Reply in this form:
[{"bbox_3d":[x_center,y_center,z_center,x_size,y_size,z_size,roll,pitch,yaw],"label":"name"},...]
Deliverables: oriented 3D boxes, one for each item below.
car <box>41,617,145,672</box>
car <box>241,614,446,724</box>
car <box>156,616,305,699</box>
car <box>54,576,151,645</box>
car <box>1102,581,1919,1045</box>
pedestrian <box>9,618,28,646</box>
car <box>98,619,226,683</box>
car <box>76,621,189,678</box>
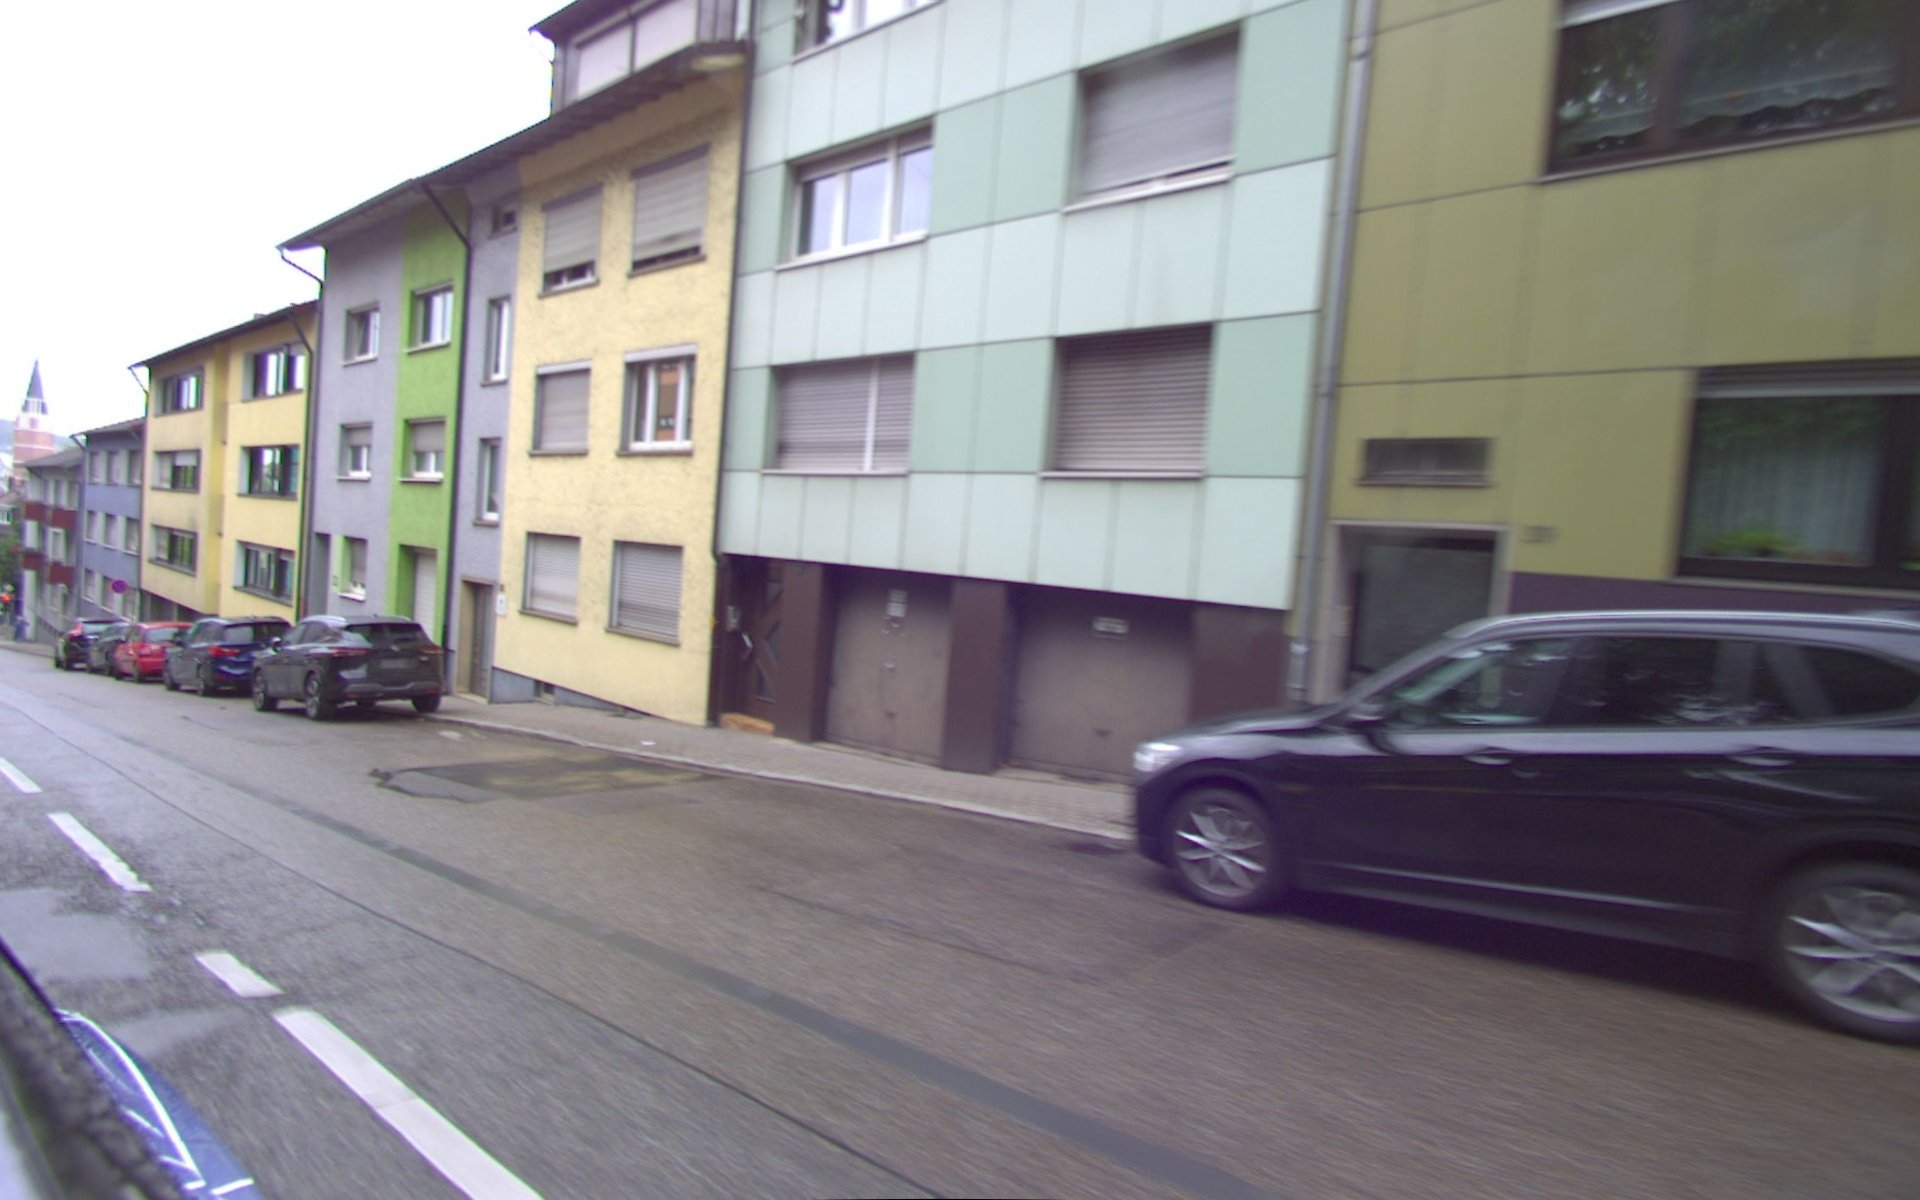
[{"bbox_3d":[-28.116,1.417,32.777,4.326,1.669,1.884,-1,-3,41],"label":"car"},{"bbox_3d":[-10.239,1.065,16.700,3.997,1.606,1.675,-1,-3,40],"label":"car"},{"bbox_3d":[-15.639,1.183,21.627,4.053,1.606,1.666,-1,-3,41],"label":"car"},{"bbox_3d":[-35.145,0.478,41.414,5.441,2.570,2.095,-1,-4,41],"label":"car"},{"bbox_3d":[2.926,0.795,4.903,4.381,1.627,1.396,-1,-4,41],"label":"car"},{"bbox_3d":[-56.082,1.902,60.276,0.455,1.630,0.795,-1,-2,43],"label":"pedestrian"},{"bbox_3d":[-20.882,1.302,26.445,3.998,1.548,1.884,-1,-3,41],"label":"car"},{"bbox_3d":[-24.353,1.415,29.732,3.998,1.548,1.884,-1,-3,41],"label":"car"}]
